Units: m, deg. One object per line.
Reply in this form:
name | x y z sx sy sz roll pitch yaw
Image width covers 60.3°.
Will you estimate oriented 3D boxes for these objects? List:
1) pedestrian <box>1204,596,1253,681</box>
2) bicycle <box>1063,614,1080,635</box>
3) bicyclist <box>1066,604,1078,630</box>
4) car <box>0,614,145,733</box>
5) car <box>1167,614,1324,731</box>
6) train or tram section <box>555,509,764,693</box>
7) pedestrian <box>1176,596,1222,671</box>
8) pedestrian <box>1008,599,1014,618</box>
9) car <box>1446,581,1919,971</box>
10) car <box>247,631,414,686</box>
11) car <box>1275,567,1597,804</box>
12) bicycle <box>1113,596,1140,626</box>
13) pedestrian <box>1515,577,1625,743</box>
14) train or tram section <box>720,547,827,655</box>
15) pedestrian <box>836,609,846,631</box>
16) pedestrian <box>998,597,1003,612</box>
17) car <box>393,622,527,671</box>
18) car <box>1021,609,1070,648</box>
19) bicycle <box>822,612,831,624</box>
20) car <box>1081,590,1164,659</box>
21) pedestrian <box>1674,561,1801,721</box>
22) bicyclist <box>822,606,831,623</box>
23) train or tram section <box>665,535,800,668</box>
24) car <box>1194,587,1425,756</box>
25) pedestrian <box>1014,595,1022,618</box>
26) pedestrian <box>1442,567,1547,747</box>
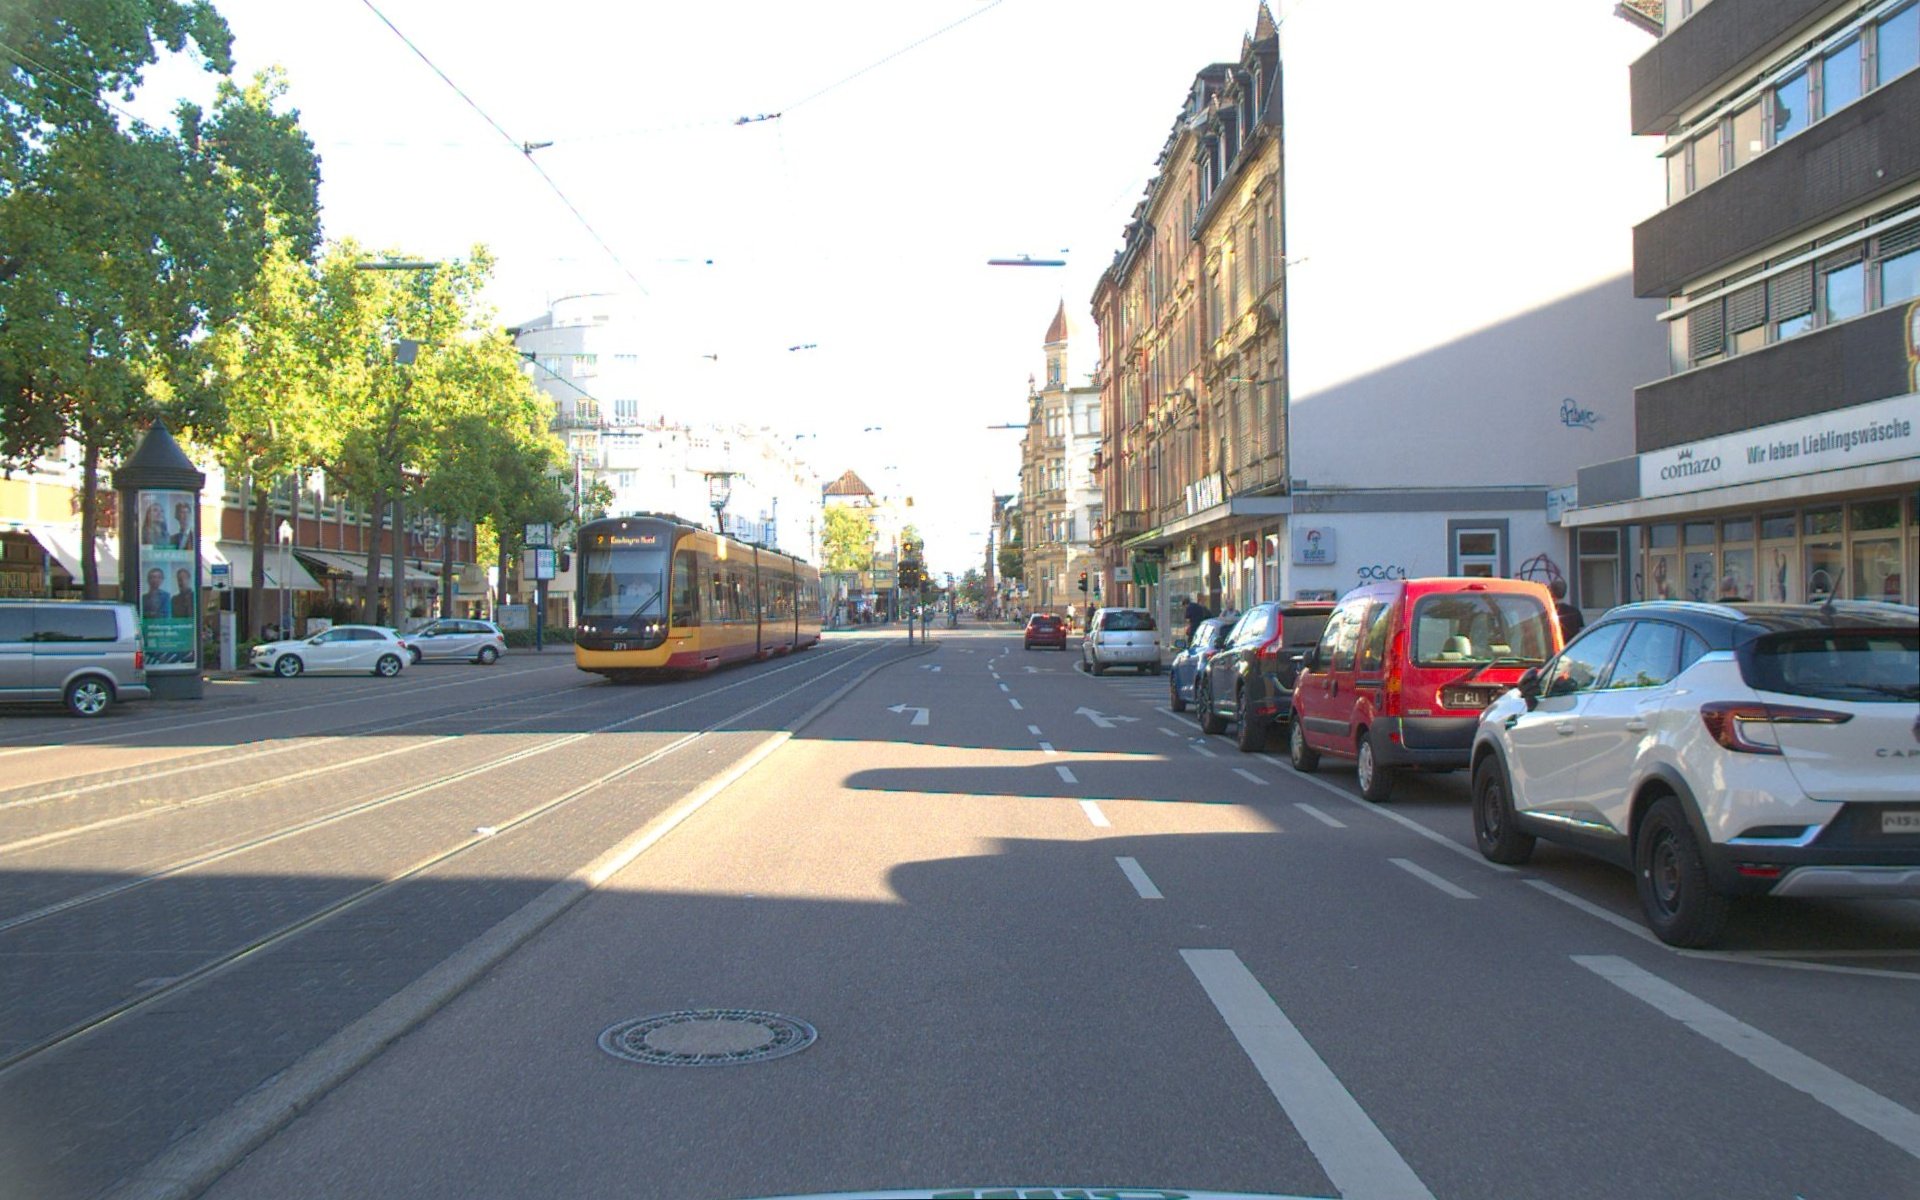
pedestrian | 5.812 0.830 35.826 0.771 1.768 0.945 -4 -1 -1
bicycle | 6.470 1.419 96.031 0.413 1.115 1.411 -2 0 27
bicyclist | 6.504 0.991 96.116 0.413 1.434 0.658 -2 0 28
car | -16.581 1.211 27.777 5.055 1.963 1.834 1 -1 -32
car | 4.232 1.037 25.021 1.604 1.518 3.794 1 1 -2
train or tram section | -6.820 0.015 39.650 2.702 3.613 12.466 -2 0 0
pedestrian | 5.995 0.828 41.564 0.927 1.823 1.055 -2 0 -1
pedestrian | 5.501 0.906 177.800 0.565 2.049 0.631 -1 0 6
car | 4.171 0.745 9.093 1.750 1.624 4.326 -1 0 1
car | -17.850 1.640 46.911 4.212 1.454 1.748 0 0 -31
car | 4.114 0.678 15.020 1.641 1.840 4.247 0 0 -1
bicycle | 7.009 0.449 69.586 0.700 1.172 1.656 -3 0 18
pedestrian | 6.855 0.656 18.635 0.794 1.787 1.033 -2 0 -1
train or tram section | -6.944 0.027 63.416 2.621 3.613 12.840 -2 0 0
pedestrian | -9.761 1.654 136.004 0.752 1.761 0.573 -1 0 2
pedestrian | 5.364 0.614 220.165 0.565 2.049 0.631 -1 0 1
car | -17.496 1.598 57.940 4.224 1.593 1.808 0 -1 -32
car | 3.522 1.154 68.278 1.718 1.492 3.944 0 0 -2
bicycle | -14.537 1.970 180.548 0.791 1.167 2.010 -1 0 0
car | 4.056 0.587 41.794 1.604 1.643 3.944 -1 0 -2
pedestrian | 8.983 0.460 19.148 0.882 1.743 1.033 -4 0 -1
bicyclist | -14.552 1.543 180.403 0.791 1.853 0.993 -1 0 0
train or tram section | -6.841 0.039 51.464 2.621 3.613 11.125 -2 0 0
car | 4.033 0.746 19.820 1.783 1.788 4.475 0 0 0
pedestrian | 5.087 0.578 144.706 0.638 2.049 0.759 -1 0 -1
pedestrian | 5.990 0.619 18.587 0.777 1.932 1.033 -2 0 -1
